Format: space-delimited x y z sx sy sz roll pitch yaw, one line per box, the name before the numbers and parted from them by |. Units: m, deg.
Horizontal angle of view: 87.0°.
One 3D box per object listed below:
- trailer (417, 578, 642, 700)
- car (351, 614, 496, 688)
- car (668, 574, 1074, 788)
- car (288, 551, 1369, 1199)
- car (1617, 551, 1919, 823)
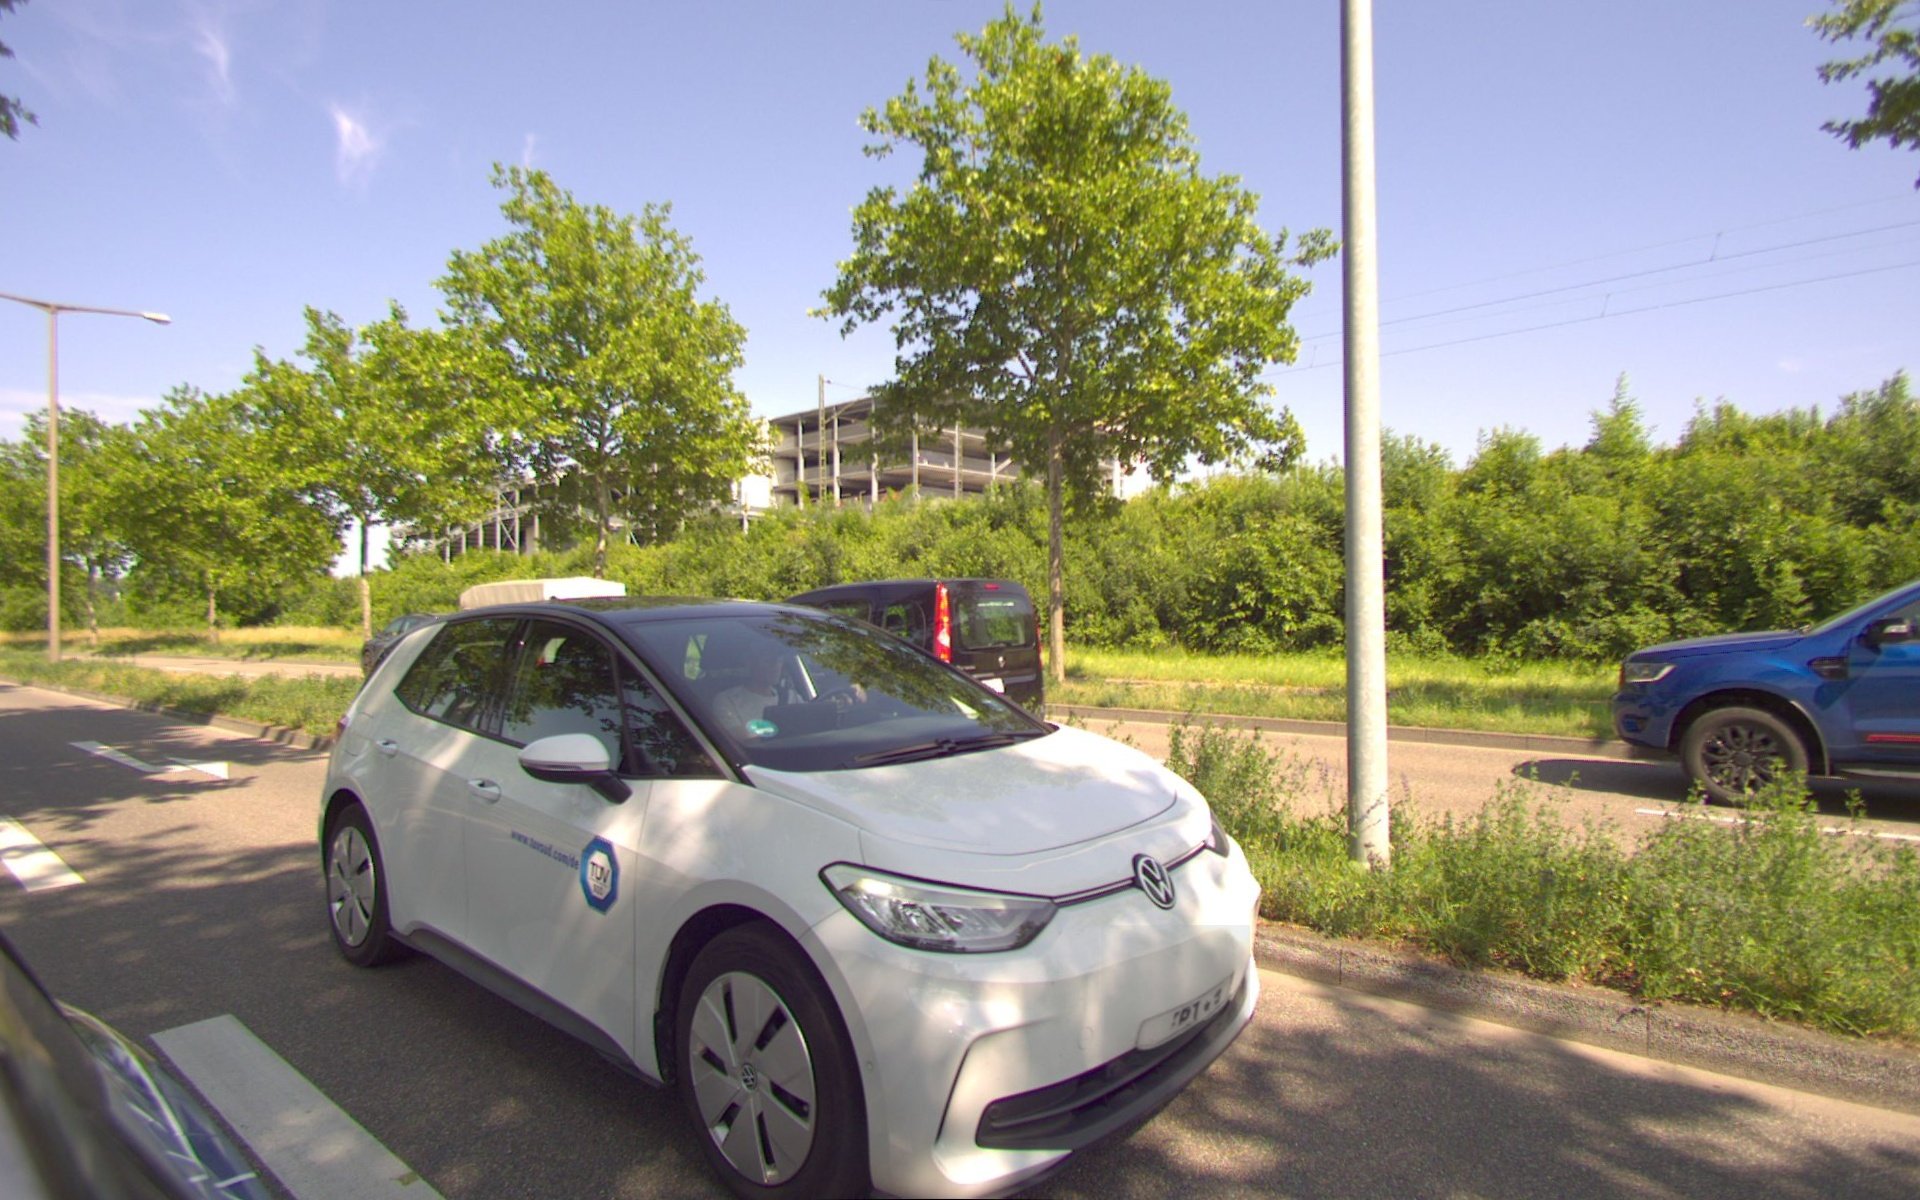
trailer | -9.311 0.778 21.624 5.536 2.282 2.285 -1 -1 41
car | -13.076 1.174 24.574 4.359 1.634 1.697 -1 -1 41
car | -1.065 0.706 10.628 4.227 1.823 1.714 -1 0 39
car | -0.885 0.718 3.905 4.206 1.533 1.800 -2 -1 41
car | 7.683 0.543 6.748 5.370 1.803 1.747 -1 0 40
